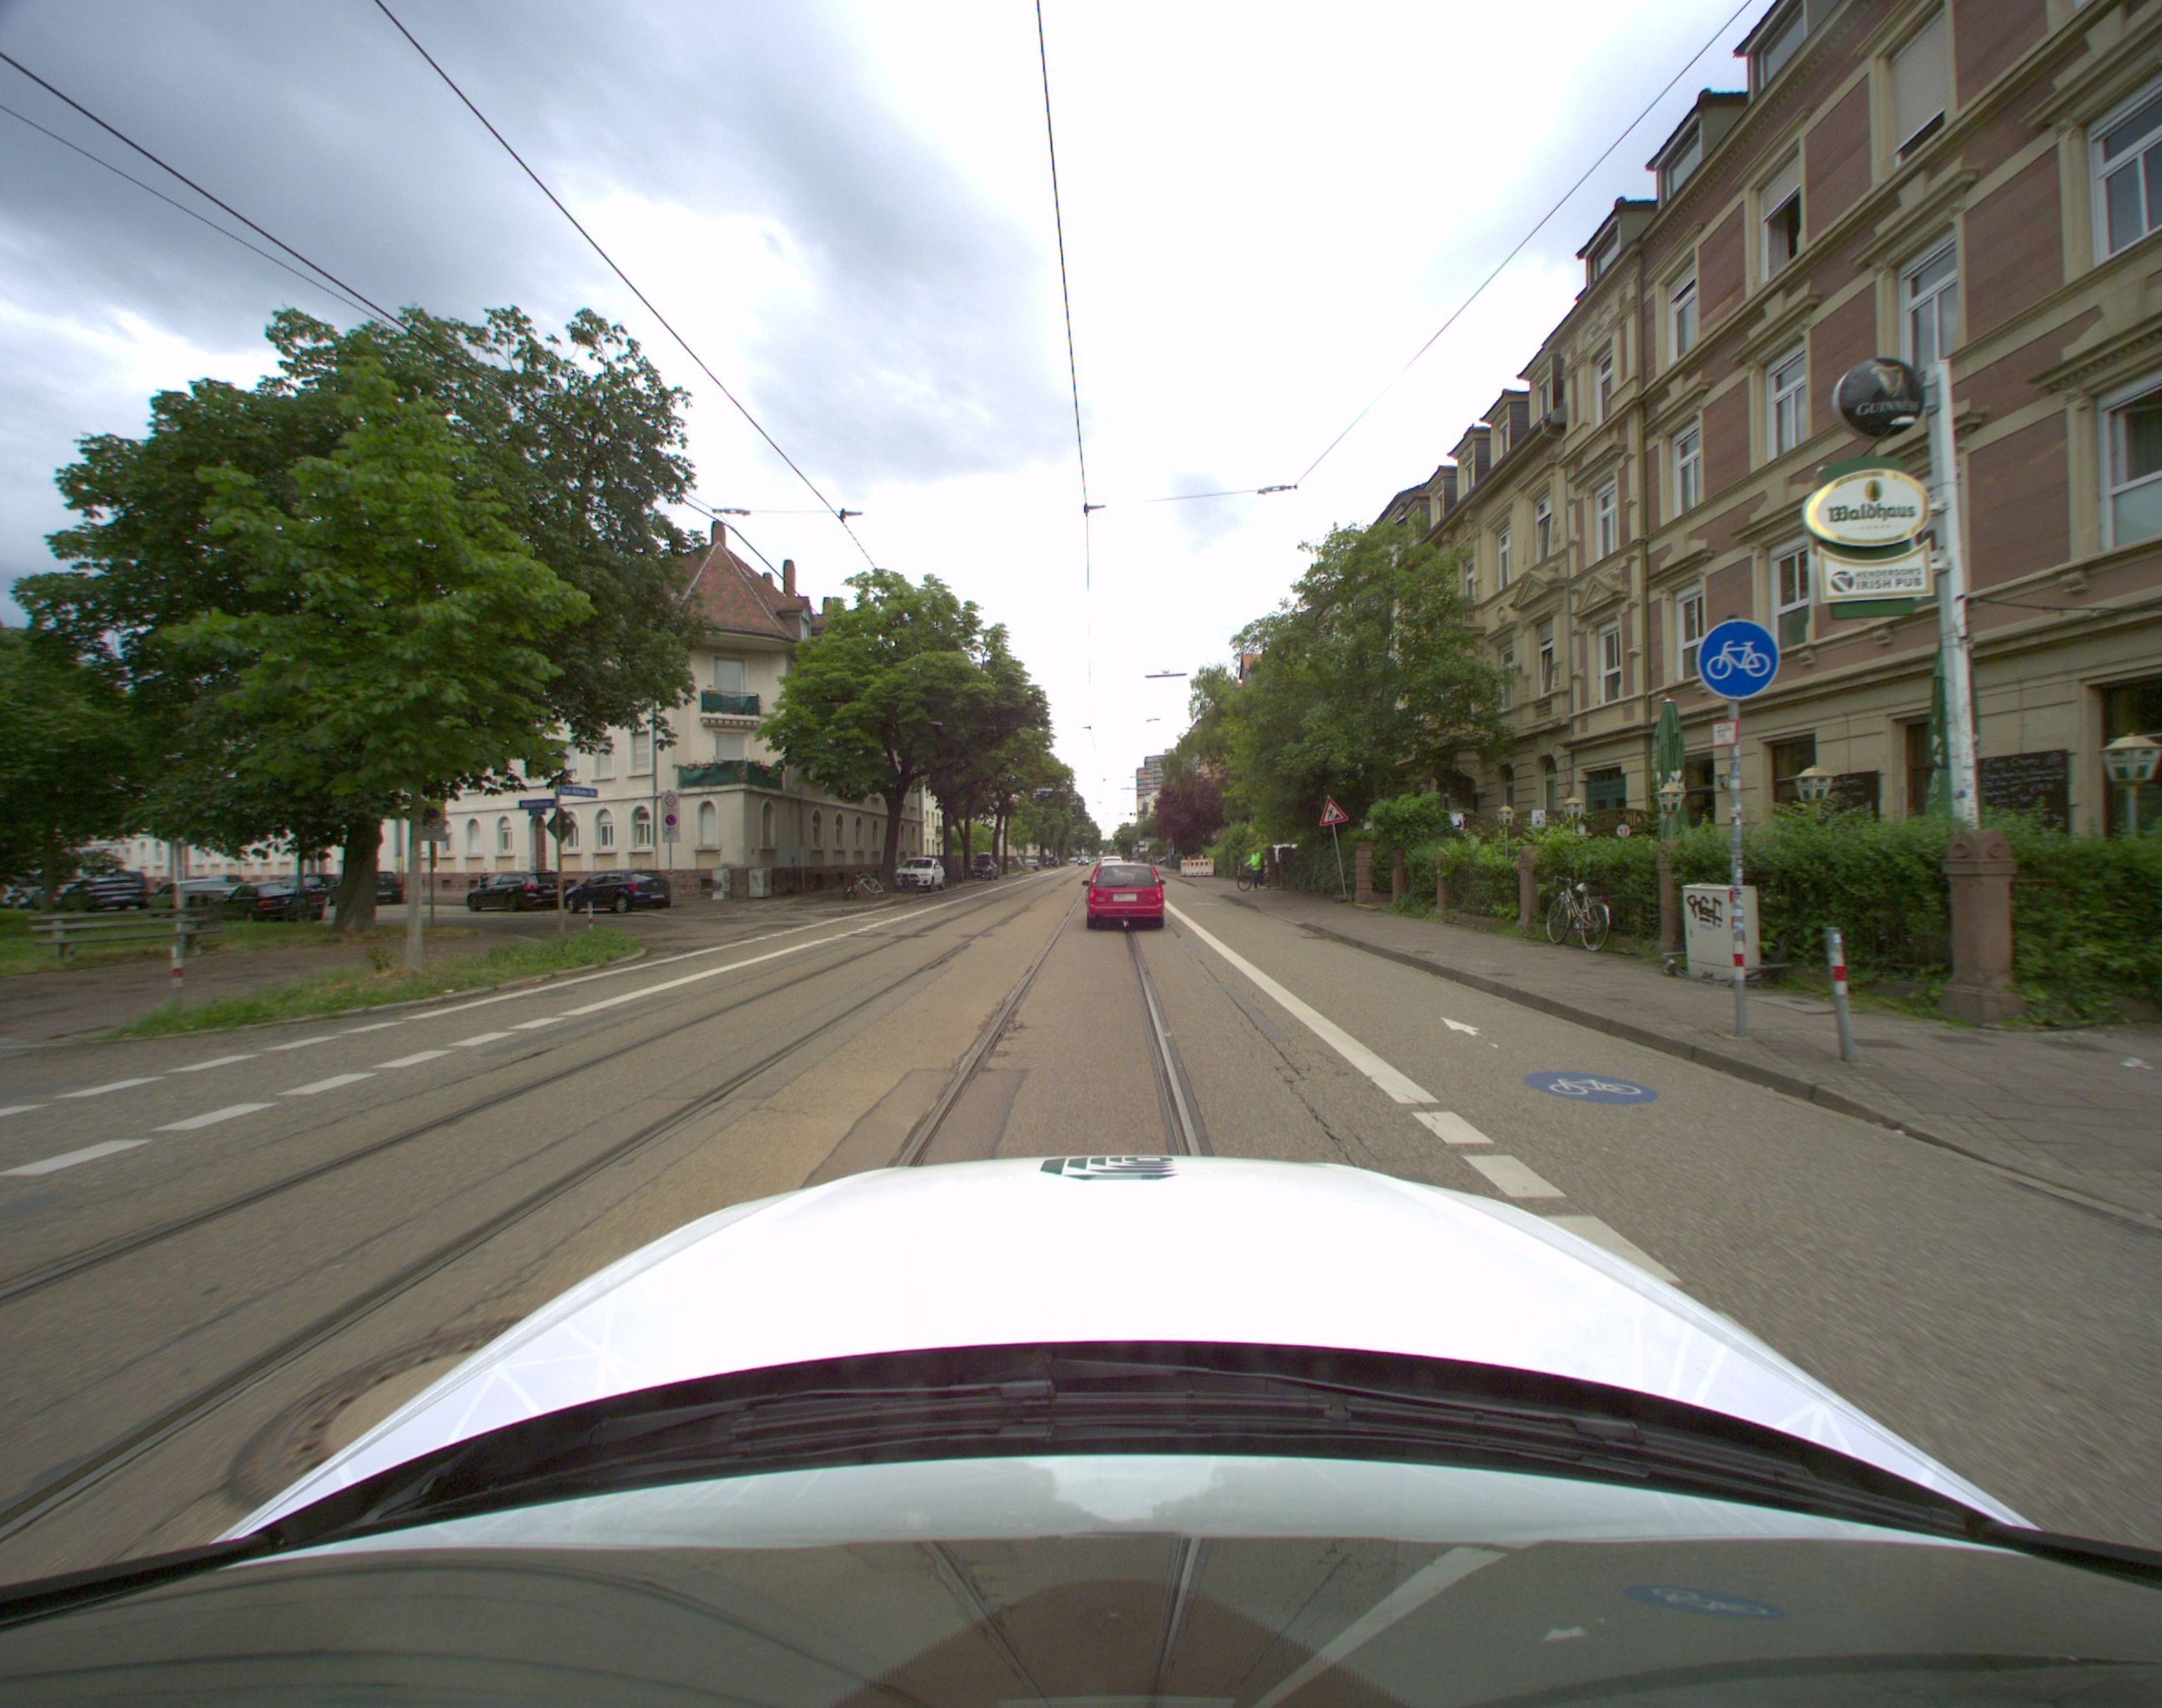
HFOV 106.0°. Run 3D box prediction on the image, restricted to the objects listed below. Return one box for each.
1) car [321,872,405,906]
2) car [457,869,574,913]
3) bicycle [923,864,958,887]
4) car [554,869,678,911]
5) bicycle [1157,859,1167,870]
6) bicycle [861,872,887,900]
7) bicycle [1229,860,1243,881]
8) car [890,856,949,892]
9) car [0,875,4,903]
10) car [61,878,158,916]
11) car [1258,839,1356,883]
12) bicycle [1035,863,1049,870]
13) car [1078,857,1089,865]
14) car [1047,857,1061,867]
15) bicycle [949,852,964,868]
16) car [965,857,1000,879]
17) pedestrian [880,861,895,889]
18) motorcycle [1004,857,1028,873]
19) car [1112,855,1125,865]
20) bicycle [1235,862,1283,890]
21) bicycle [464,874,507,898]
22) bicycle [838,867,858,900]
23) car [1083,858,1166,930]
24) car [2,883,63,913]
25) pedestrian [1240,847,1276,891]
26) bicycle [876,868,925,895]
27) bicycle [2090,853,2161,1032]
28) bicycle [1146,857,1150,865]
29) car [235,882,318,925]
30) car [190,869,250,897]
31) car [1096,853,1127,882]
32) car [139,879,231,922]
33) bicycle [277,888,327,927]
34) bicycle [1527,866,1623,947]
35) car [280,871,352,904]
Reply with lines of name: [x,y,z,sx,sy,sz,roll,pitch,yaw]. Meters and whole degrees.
car: [-32.109,1.526,36.412,3.455,1.441,1.685,-1,0,28]
car: [-20.588,1.317,29.652,3.896,1.464,1.716,-1,0,24]
bicycle: [-7.667,1.150,44.390,1.730,1.192,0.655,1,0,16]
car: [-15.538,1.181,27.210,3.715,1.307,1.751,-1,0,25]
bicycle: [11.445,1.540,115.511,0.909,1.507,2.392,-1,0,19]
bicycle: [-7.583,1.175,29.829,0.481,0.958,1.399,-1,0,4]
bicycle: [8.081,0.843,42.512,0.477,1.045,1.532,-1,0,2]
car: [-7.661,0.908,39.052,1.890,1.655,4.226,0,0,1]
car: [-65.683,2.078,48.039,4.443,1.611,1.912,-1,0,28]
car: [-42.818,1.842,35.889,3.950,1.534,1.858,-1,0,26]
car: [10.279,0.325,37.294,3.972,1.858,1.810,-2,0,2]
bicycle: [-5.286,1.691,110.181,1.741,0.844,0.684,-1,0,2]
car: [0.380,1.201,138.933,1.749,1.380,4.027,-1,0,1]
car: [-4.081,1.231,125.024,1.844,1.563,3.944,-1,0,2]
bicycle: [-10.661,0.499,69.732,0.789,1.382,2.142,-1,-1,2]
car: [-6.956,0.986,58.073,1.770,1.511,4.240,0,0,3]
pedestrian: [-10.338,1.113,43.499,0.562,1.467,0.723,-1,0,2]
motorcycle: [-6.387,1.101,79.837,2.243,1.511,0.932,-1,-2,37]
car: [5.892,0.984,128.655,1.736,1.606,3.999,-1,0,0]
bicycle: [7.394,0.916,33.810,1.834,1.076,0.606,-2,0,0]
bicycle: [-26.363,1.410,36.044,2.163,1.035,0.657,-1,0,28]
bicycle: [-8.694,1.081,30.426,0.675,1.136,1.927,-1,1,-15]
car: [0.951,0.830,18.500,1.683,1.441,3.744,0,0,2]
car: [-51.447,2.126,39.945,3.079,1.390,1.302,-1,0,28]
pedestrian: [7.243,0.590,33.440,1.224,1.733,1.018,-2,0,1]
bicycle: [-7.713,1.172,34.899,1.915,1.121,0.624,1,0,1]
bicycle: [8.593,0.627,5.922,1.593,1.277,0.515,-1,0,13]
bicycle: [11.113,1.178,135.480,0.549,1.400,1.735,-1,0,2]
car: [-26.681,1.600,26.996,2.929,1.299,1.364,-1,0,33]
car: [-46.362,1.544,43.838,3.270,1.430,1.397,-1,0,28]
car: [1.866,0.797,49.043,1.711,1.625,3.945,-1,0,4]
car: [-32.847,1.643,29.834,3.948,1.409,1.684,-1,0,33]
bicycle: [-20.048,1.361,20.943,1.653,0.925,0.451,-1,0,29]
bicycle: [7.066,0.716,11.732,0.300,1.041,1.849,-1,0,2]
car: [-36.642,1.588,38.987,3.948,1.475,1.551,-1,0,31]
